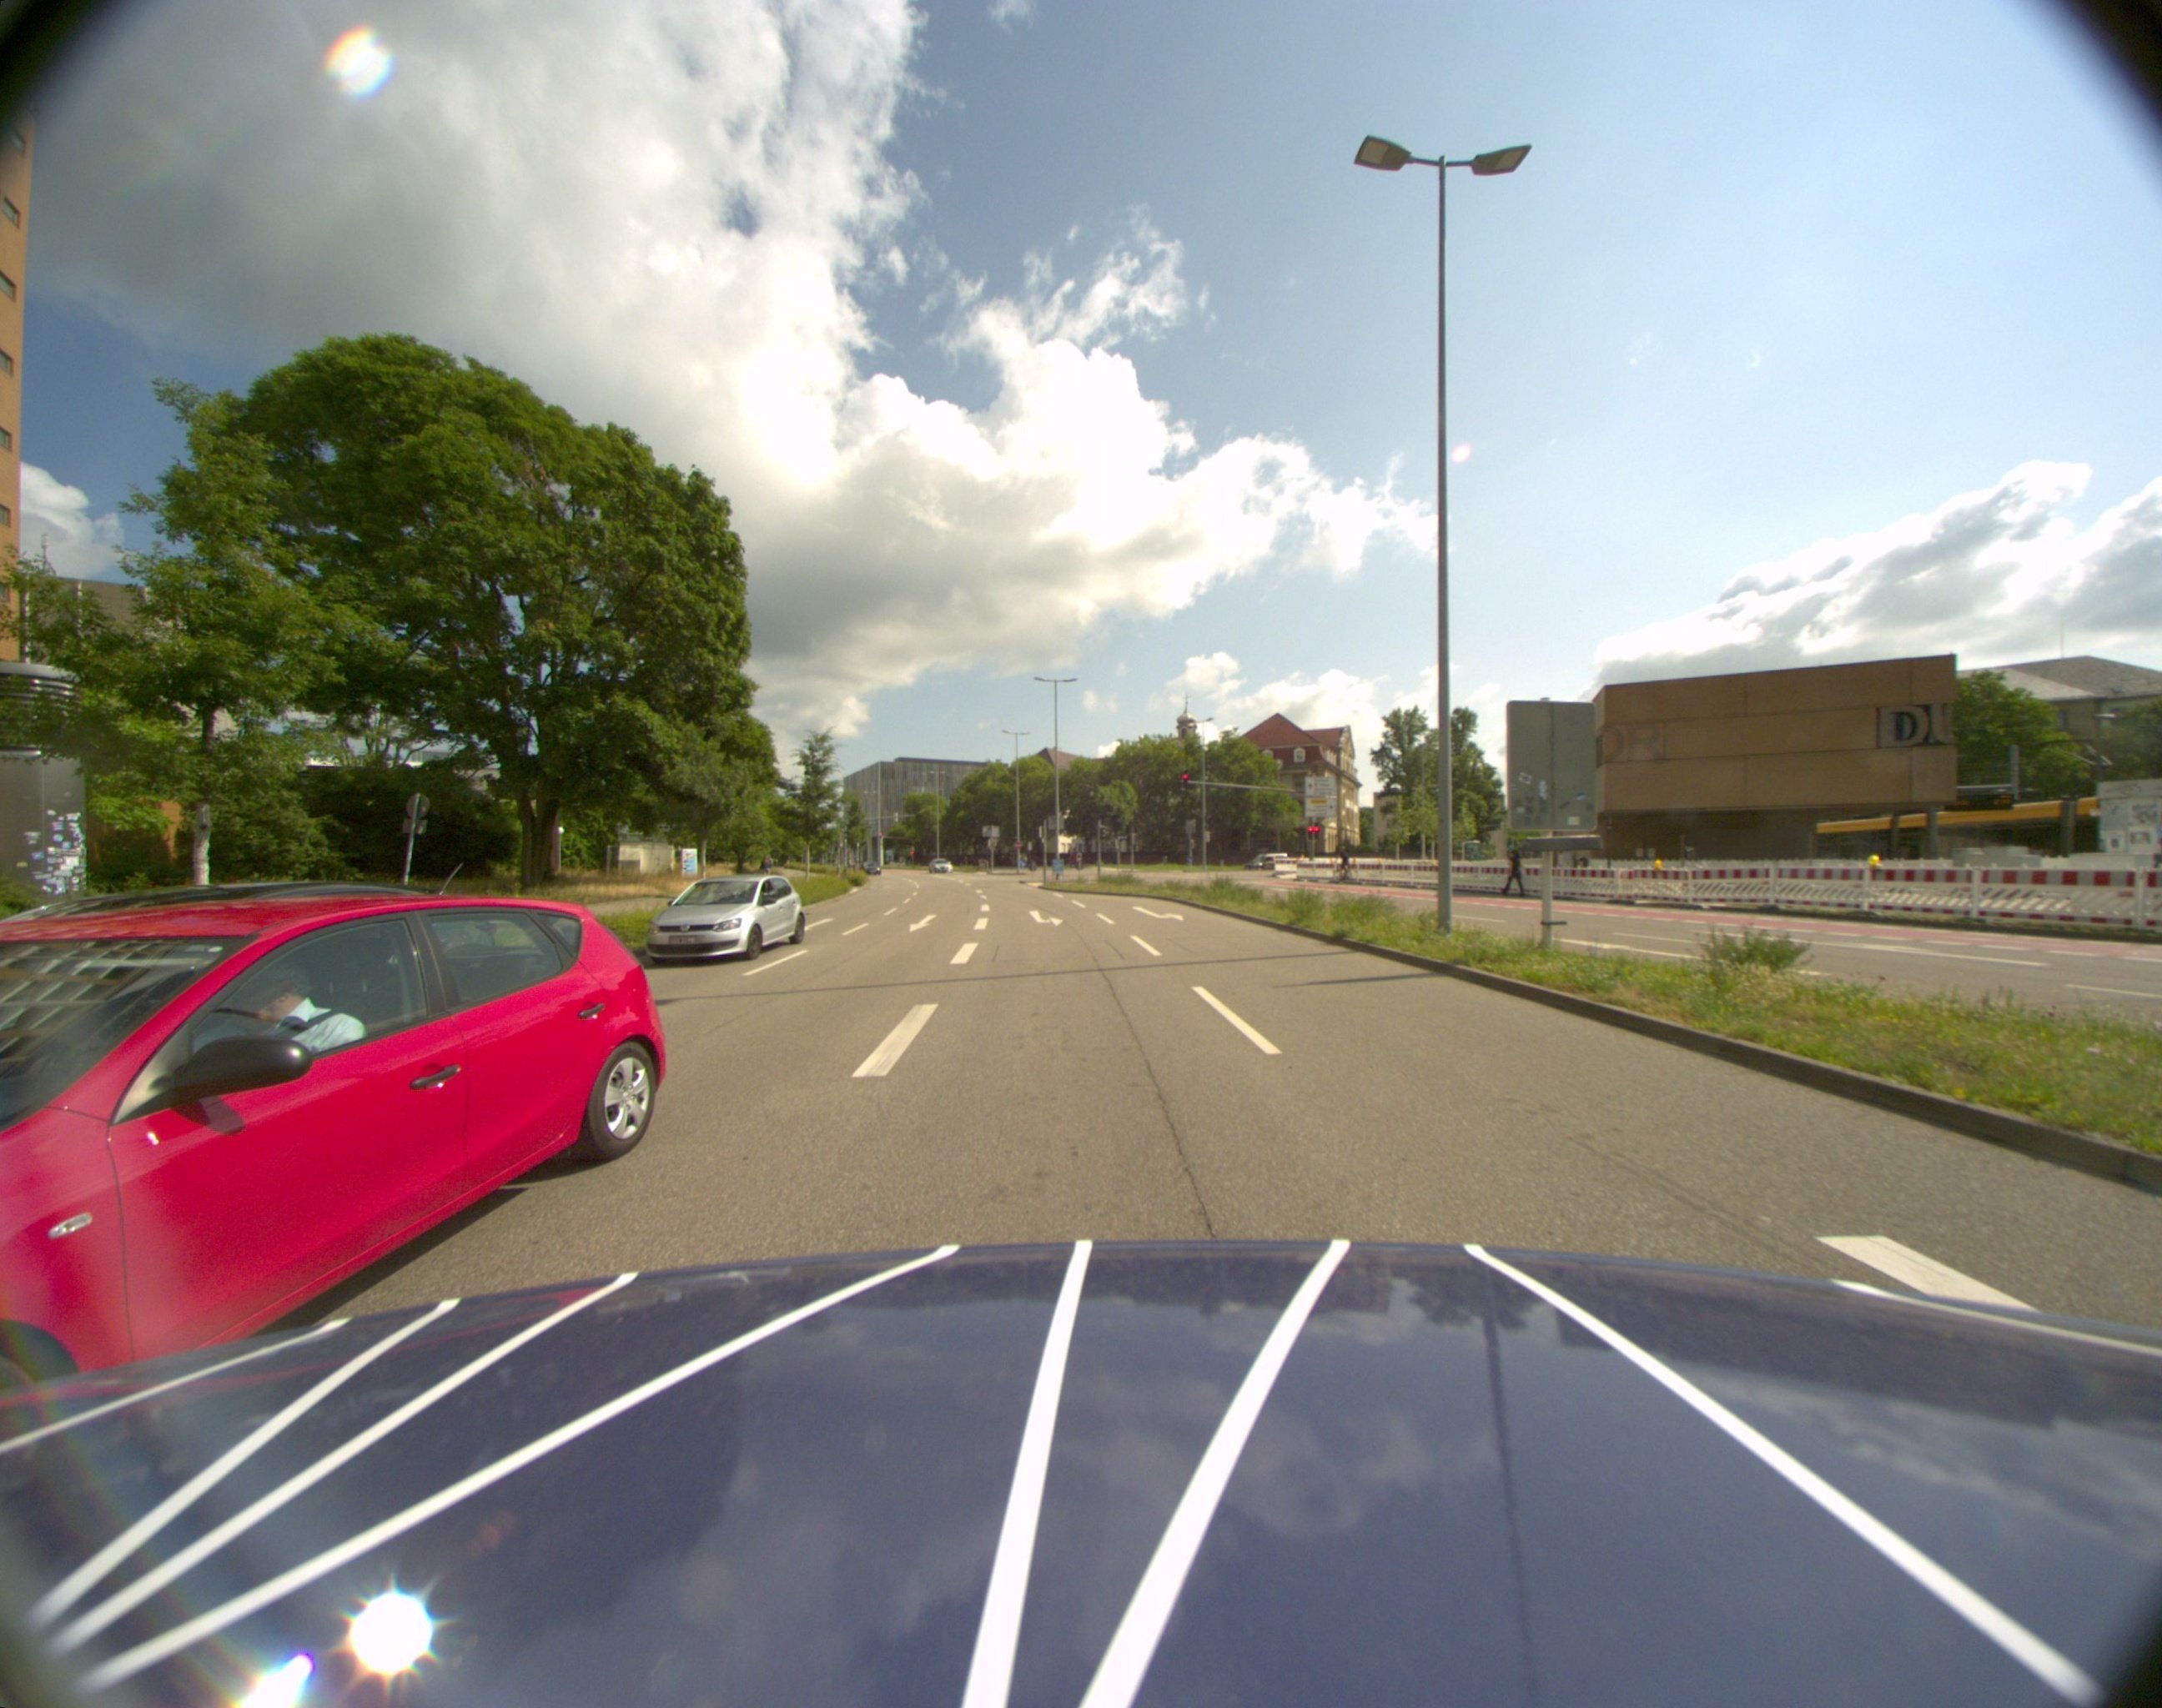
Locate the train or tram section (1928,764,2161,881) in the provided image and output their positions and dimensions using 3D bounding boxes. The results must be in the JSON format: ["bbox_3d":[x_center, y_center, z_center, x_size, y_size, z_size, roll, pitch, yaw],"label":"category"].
[{"bbox_3d":[34.990,-1.106,26.765,3.316,3.461,10.625,-2,1,27],"label":"train or tram section"}]

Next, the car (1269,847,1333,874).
[{"bbox_3d":[14.854,0.414,51.271,3.991,1.772,2.003,0,0,19],"label":"car"}]

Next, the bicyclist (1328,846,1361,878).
[{"bbox_3d":[13.150,0.391,37.966,0.778,1.554,1.774,-1,0,-11],"label":"bicyclist"}]

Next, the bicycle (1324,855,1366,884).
[{"bbox_3d":[13.169,0.737,37.936,0.973,1.402,2.291,-1,0,-10],"label":"bicycle"}]

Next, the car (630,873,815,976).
[{"bbox_3d":[-6.284,1.146,13.857,1.588,1.377,4.076,-2,1,-3],"label":"car"}]

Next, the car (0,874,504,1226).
[{"bbox_3d":[-6.080,1.024,4.812,1.645,1.567,4.211,-2,1,-2],"label":"car"}]

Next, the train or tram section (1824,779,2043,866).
[{"bbox_3d":[39.865,-1.416,36.227,3.316,3.461,10.625,-2,1,27],"label":"train or tram section"}]

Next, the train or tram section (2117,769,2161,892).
[{"bbox_3d":[30.142,-0.591,17.335,3.316,3.461,10.625,-2,1,27],"label":"train or tram section"}]

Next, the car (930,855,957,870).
[{"bbox_3d":[-14.578,0.918,80.297,1.834,1.516,3.991,0,0,-26],"label":"car"}]

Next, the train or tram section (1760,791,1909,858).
[{"bbox_3d":[44.703,-1.724,45.614,3.316,3.461,10.625,-2,1,27],"label":"train or tram section"}]

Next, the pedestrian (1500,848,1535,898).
[{"bbox_3d":[15.494,0.661,26.985,0.653,1.754,1.001,-1,0,-2],"label":"pedestrian"}]

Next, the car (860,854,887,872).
[{"bbox_3d":[-21.280,0.927,77.773,2.002,1.745,3.992,-3,1,-24],"label":"car"}]

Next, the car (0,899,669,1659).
[{"bbox_3d":[-3.243,1.054,2.457,1.646,1.459,4.063,-2,1,-2],"label":"car"}]
